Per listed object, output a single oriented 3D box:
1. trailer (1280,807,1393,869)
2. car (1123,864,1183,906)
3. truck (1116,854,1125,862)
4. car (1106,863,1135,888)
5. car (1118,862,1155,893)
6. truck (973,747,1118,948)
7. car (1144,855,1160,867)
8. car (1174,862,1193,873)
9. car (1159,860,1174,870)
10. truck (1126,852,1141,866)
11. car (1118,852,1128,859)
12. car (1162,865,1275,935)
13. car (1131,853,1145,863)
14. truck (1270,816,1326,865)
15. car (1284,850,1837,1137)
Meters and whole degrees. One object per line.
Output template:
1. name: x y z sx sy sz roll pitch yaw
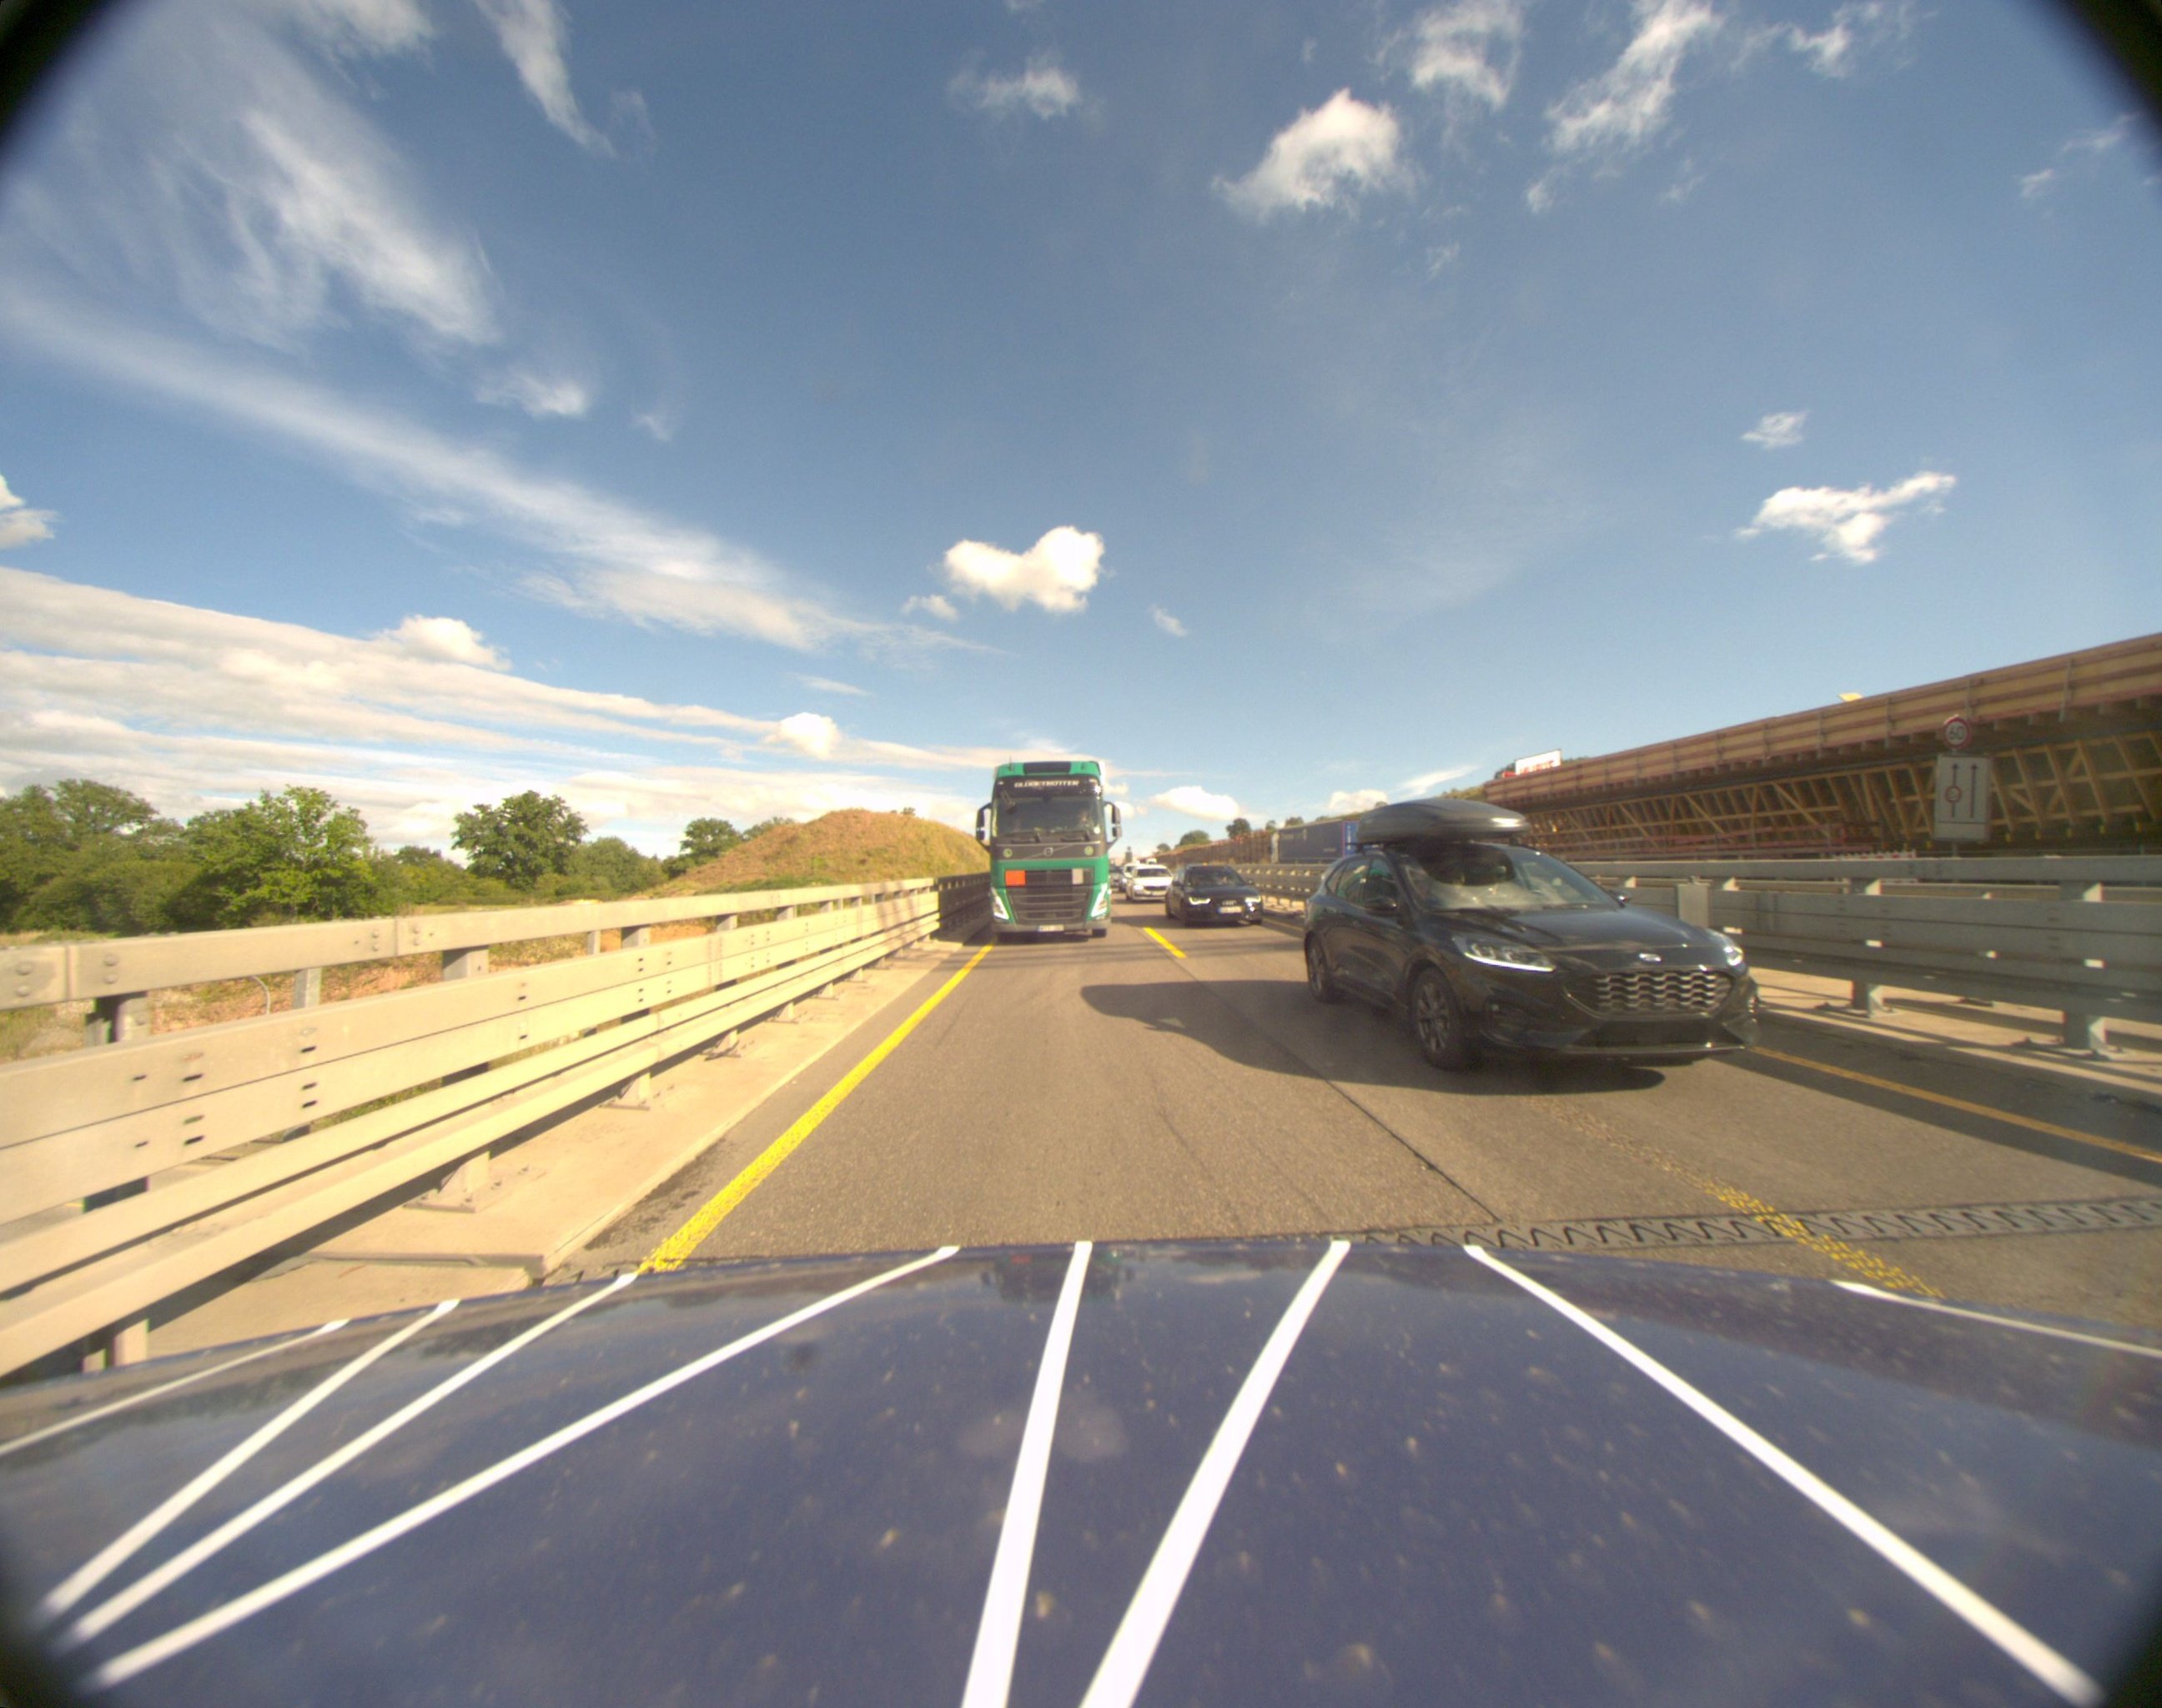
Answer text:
1. trailer: 17.120 -0.976 52.383 2.870 3.645 13.527 -2 0 -1
2. car: 2.808 1.182 30.626 1.949 1.422 4.408 -3 0 0
3. truck: 13.710 1.391 264.760 2.383 2.503 6.553 -2 0 -1
4. car: 2.652 1.405 51.492 1.659 1.510 3.999 -2 0 -1
5. car: 3.067 1.261 42.299 1.659 1.510 3.999 -2 0 -1
6. truck: -0.759 -0.146 20.010 2.664 3.825 10.316 -2 0 -1
7. car: 15.108 1.408 161.989 2.572 2.329 6.404 -2 0 -1
8. car: 15.199 1.984 112.855 1.949 1.422 4.407 -4 1 -1
9. car: 15.344 1.978 136.972 1.949 1.422 4.407 -4 1 -1
10. truck: 14.661 1.351 212.389 3.179 3.843 8.233 -2 0 -1
11. car: 14.040 0.444 256.007 2.887 2.329 6.404 -2 0 -1
12. car: 3.312 1.049 19.229 1.949 1.422 4.504 -1 1 -1
13. car: 14.277 0.952 190.130 2.887 2.329 6.404 -2 0 -1
14. truck: 17.011 -1.022 59.874 2.849 3.607 4.809 -2 0 0
15. car: 3.240 0.820 6.393 1.804 1.533 4.385 -1 -1 -1
